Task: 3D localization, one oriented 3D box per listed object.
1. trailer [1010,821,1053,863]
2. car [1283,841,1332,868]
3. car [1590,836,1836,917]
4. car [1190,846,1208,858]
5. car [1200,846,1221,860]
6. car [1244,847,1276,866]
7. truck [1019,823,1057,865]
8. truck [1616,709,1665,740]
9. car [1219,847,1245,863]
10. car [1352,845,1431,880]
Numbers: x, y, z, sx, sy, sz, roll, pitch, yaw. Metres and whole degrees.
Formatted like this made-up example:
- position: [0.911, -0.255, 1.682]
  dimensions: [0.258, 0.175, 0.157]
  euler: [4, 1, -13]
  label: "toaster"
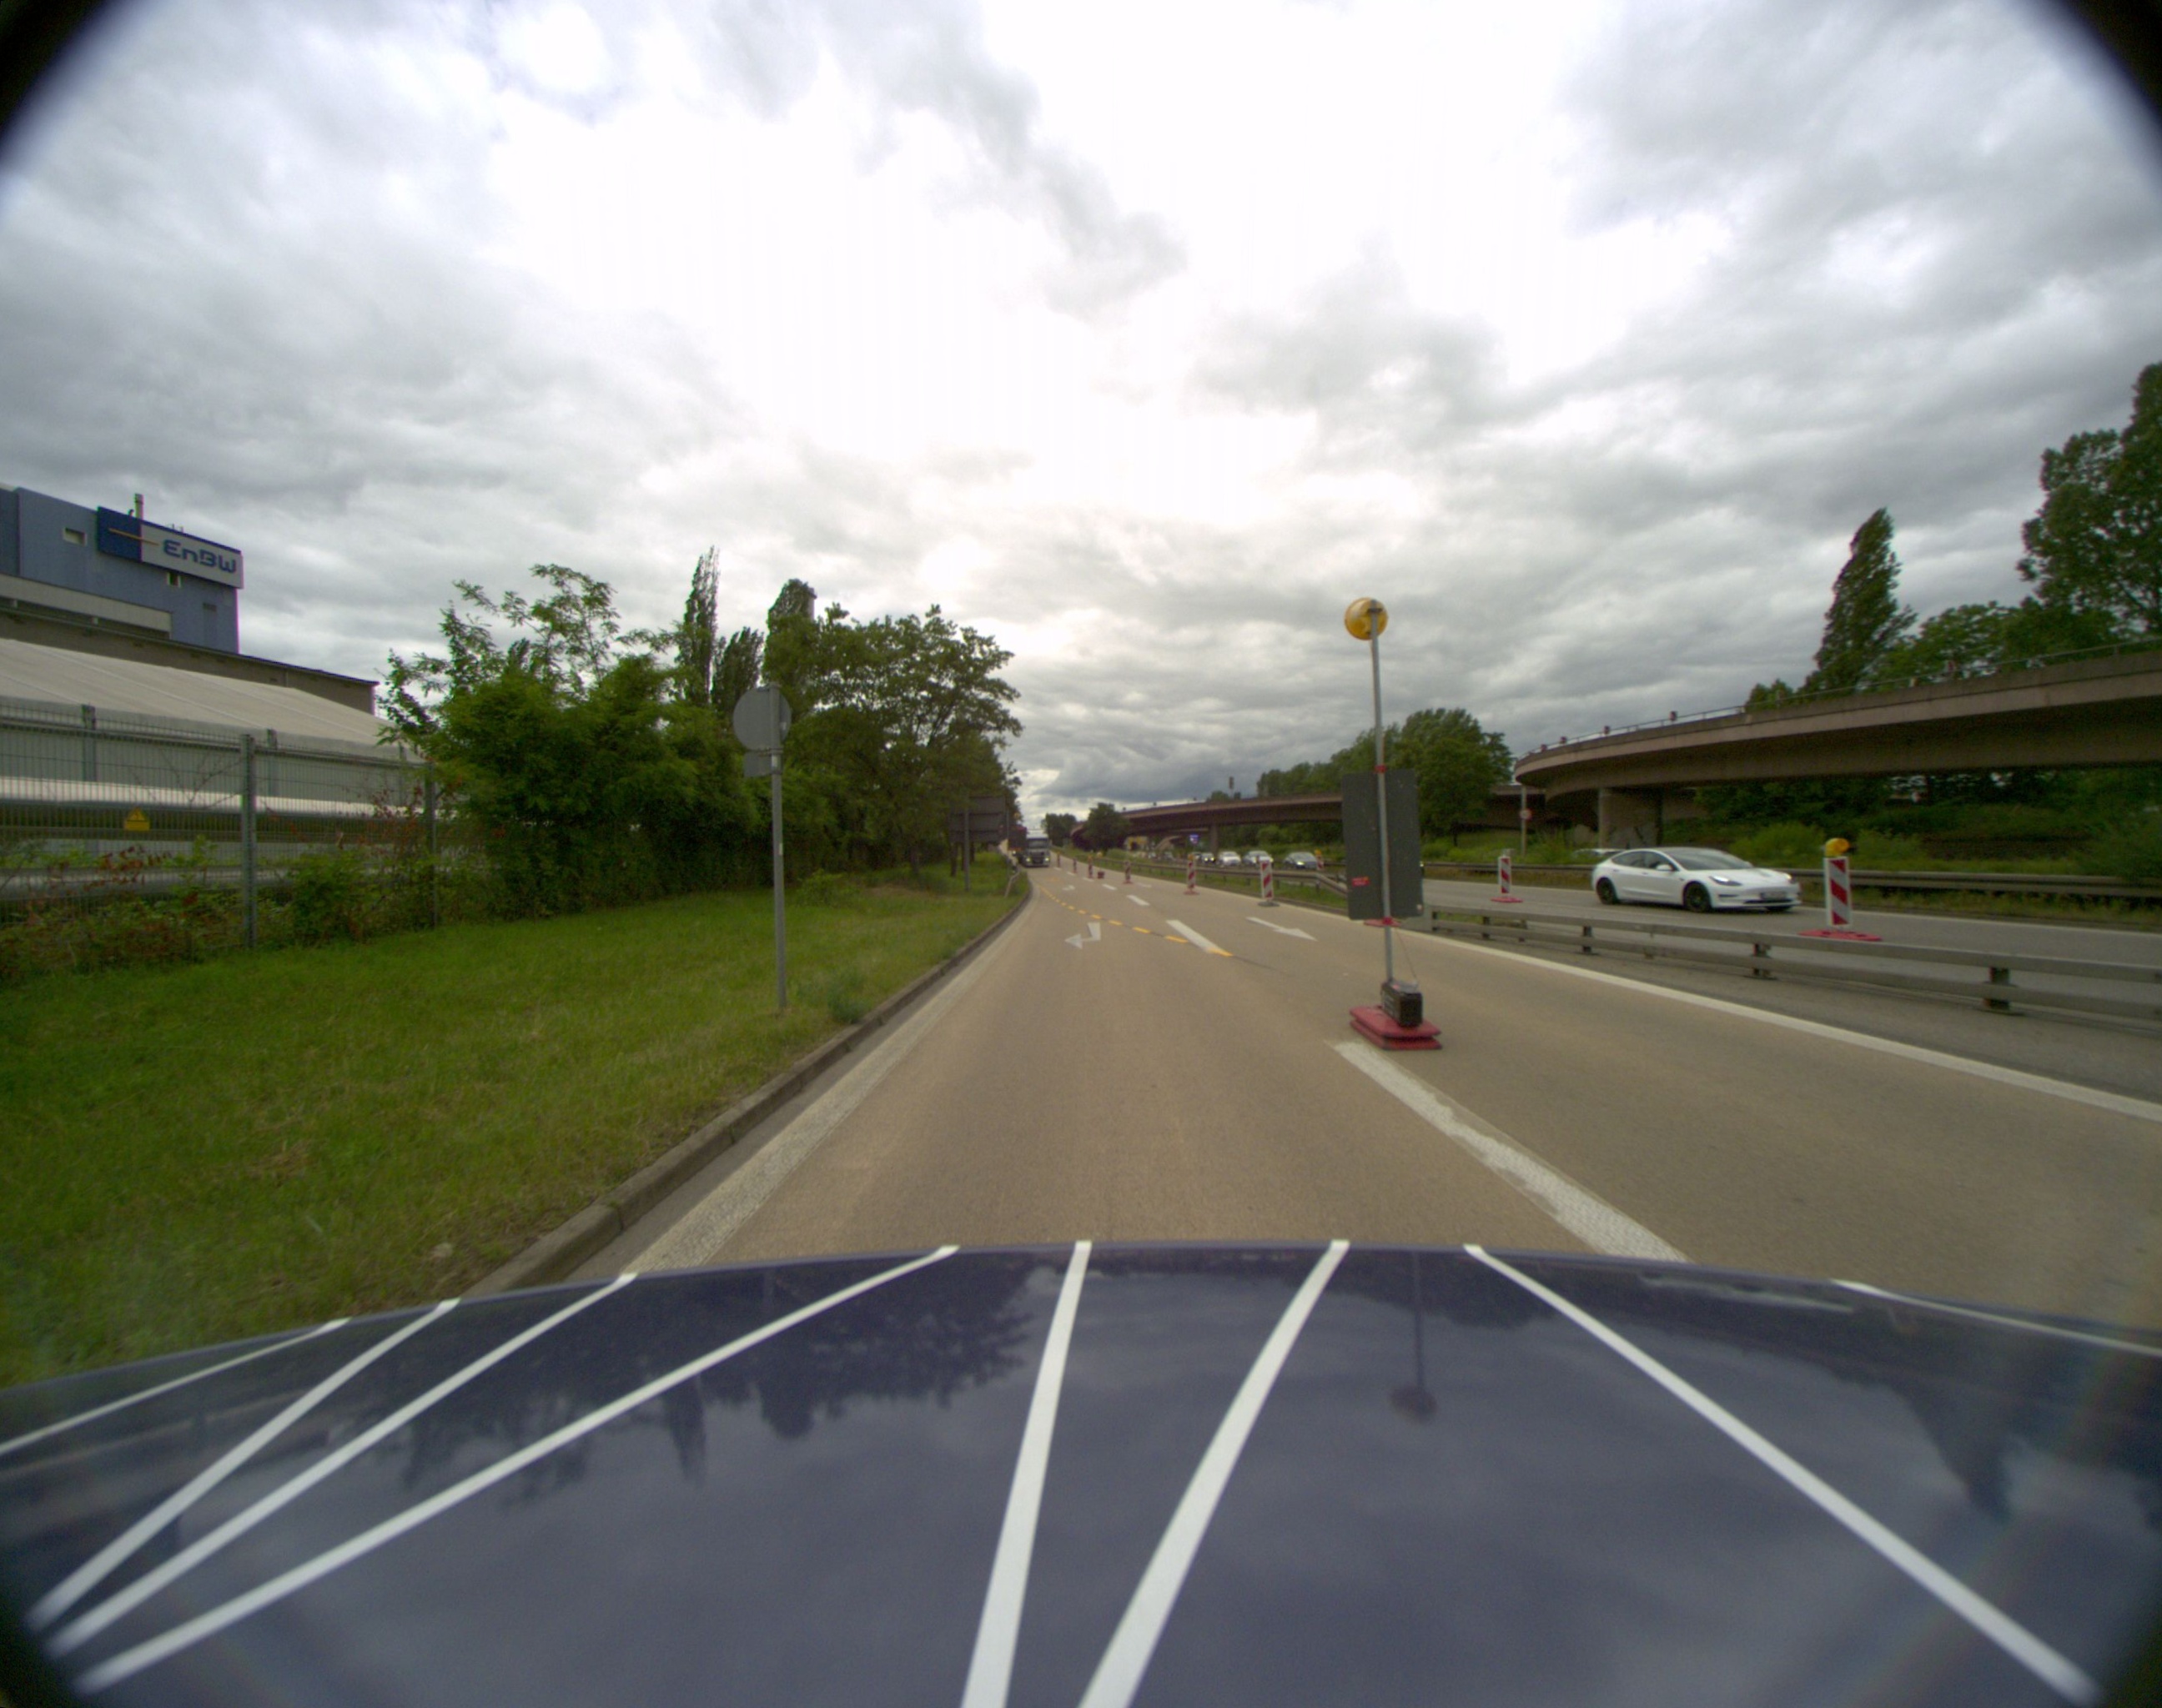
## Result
- position: [-5.855, -1.287, 86.979]
  dimensions: [3.167, 4.299, 13.251]
  euler: [-3, 0, -10]
  label: "trailer"
- position: [15.283, 0.012, 51.472]
  dimensions: [1.936, 1.693, 3.998]
  euler: [0, 1, -3]
  label: "car"
- position: [14.192, 0.435, 17.504]
  dimensions: [1.998, 1.533, 4.460]
  euler: [-3, 1, 2]
  label: "car"
- position: [16.500, -0.291, 106.191]
  dimensions: [1.998, 1.585, 4.292]
  euler: [0, 1, 2]
  label: "car"
- position: [15.971, -0.136, 94.053]
  dimensions: [1.998, 1.585, 4.292]
  euler: [0, 1, 2]
  label: "car"
- position: [15.050, 0.205, 64.006]
  dimensions: [1.802, 1.503, 3.999]
  euler: [0, 2, 1]
  label: "car"
- position: [-4.631, -0.981, 80.038]
  dimensions: [3.164, 4.107, 8.134]
  euler: [-3, 0, -8]
  label: "truck"
- position: [48.478, -11.207, 65.954]
  dimensions: [1.996, 2.002, 4.003]
  euler: [-2, 1, 13]
  label: "truck"
- position: [15.862, 0.057, 80.023]
  dimensions: [1.998, 1.585, 4.000]
  euler: [0, 1, 2]
  label: "car"
- position: [14.491, 0.339, 35.708]
  dimensions: [1.980, 1.502, 4.291]
  euler: [-2, 1, 1]
  label: "car"
